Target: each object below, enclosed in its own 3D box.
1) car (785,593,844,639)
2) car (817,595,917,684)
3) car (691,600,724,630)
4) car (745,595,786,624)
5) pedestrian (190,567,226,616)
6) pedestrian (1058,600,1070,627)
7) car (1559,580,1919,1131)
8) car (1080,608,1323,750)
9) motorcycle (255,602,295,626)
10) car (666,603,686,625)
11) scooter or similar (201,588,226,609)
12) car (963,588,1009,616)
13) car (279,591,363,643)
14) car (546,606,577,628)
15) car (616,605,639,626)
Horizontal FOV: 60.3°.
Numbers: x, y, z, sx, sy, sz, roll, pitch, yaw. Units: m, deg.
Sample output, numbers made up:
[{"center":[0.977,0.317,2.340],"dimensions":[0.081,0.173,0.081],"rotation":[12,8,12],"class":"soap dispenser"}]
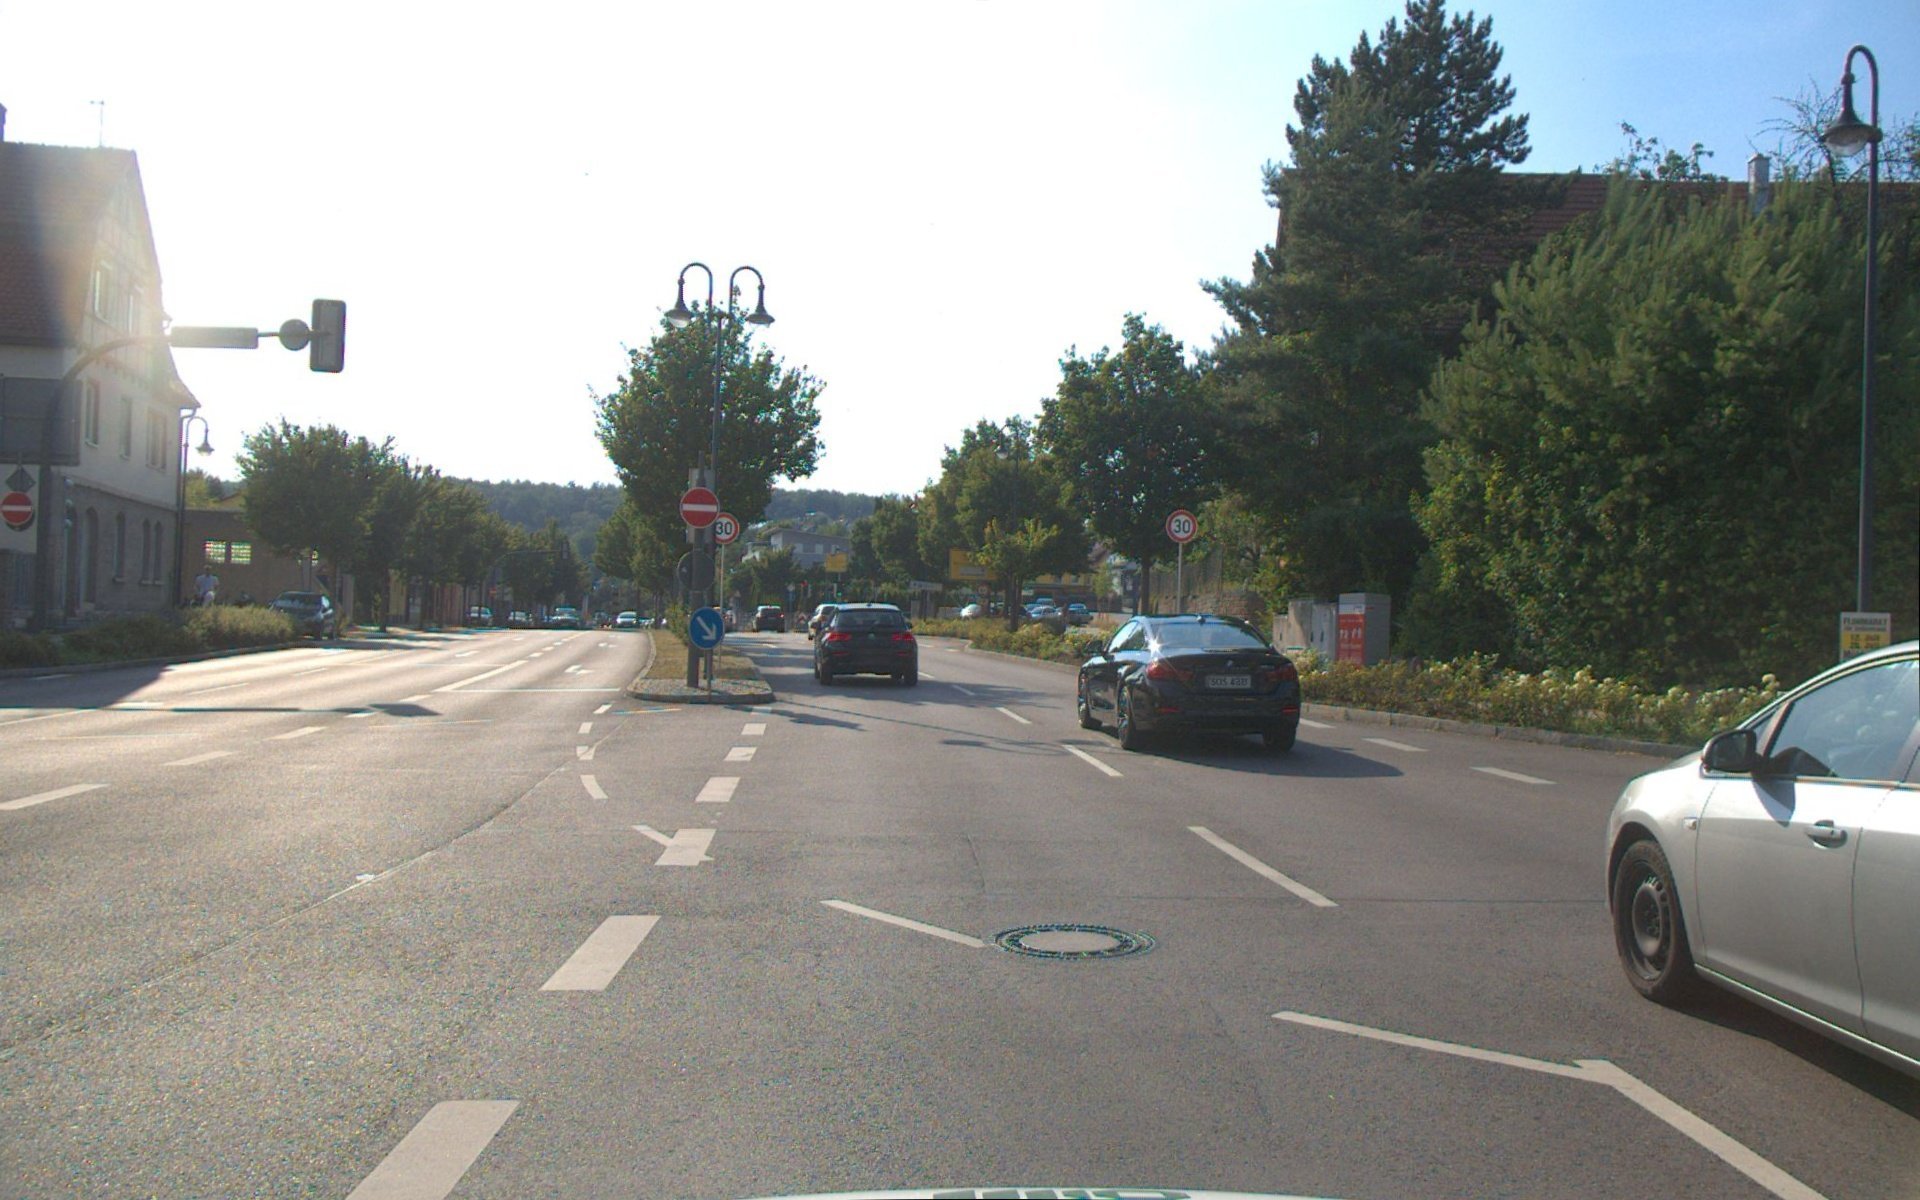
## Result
[{"center":[-5.989,0.632,67.702],"dimensions":[1.891,1.800,4.441],"rotation":[0,0,-11],"class":"car"},{"center":[-1.761,0.683,30.739],"dimensions":[1.687,1.516,4.349],"rotation":[1,0,-4],"class":"car"},{"center":[-15.202,0.892,99.464],"dimensions":[1.725,1.800,3.959],"rotation":[0,0,-11],"class":"car"},{"center":[-12.221,0.583,103.888],"dimensions":[2.177,1.800,4.441],"rotation":[0,0,-12],"class":"car"},{"center":[-21.836,-0.249,48.038],"dimensions":[0.798,1.418,0.704],"rotation":[0,0,-13],"class":"pedestrian"},{"center":[6.781,0.871,108.163],"dimensions":[0.682,1.732,0.949],"rotation":[0,0,-3],"class":"pedestrian"},{"center":[3.483,0.702,5.090],"dimensions":[1.686,1.516,4.306],"rotation":[0,0,-1],"class":"car"},{"center":[2.524,0.790,18.339],"dimensions":[1.882,1.388,4.350],"rotation":[0,0,-3],"class":"car"},{"center":[-31.883,0.639,77.049],"dimensions":[0.505,1.088,1.869],"rotation":[0,0,24],"class":"motorcycle"},{"center":[-28.343,1.389,165.043],"dimensions":[1.739,2.049,3.994],"rotation":[1,0,-7],"class":"car"},{"center":[-21.312,-0.052,47.204],"dimensions":[0.436,0.592,1.040],"rotation":[0,0,-12],"class":"scooter or similar"},{"center":[2.122,0.161,133.608],"dimensions":[2.095,2.167,5.125],"rotation":[1,0,21],"class":"car"},{"center":[-20.870,0.536,54.169],"dimensions":[1.725,1.479,4.121],"rotation":[5,-1,-11],"class":"car"},{"center":[-25.708,1.077,106.866],"dimensions":[1.725,1.385,4.472],"rotation":[0,0,-11],"class":"car"},{"center":[-27.837,1.263,138.544],"dimensions":[1.698,1.708,3.991],"rotation":[0,0,-10],"class":"car"}]
